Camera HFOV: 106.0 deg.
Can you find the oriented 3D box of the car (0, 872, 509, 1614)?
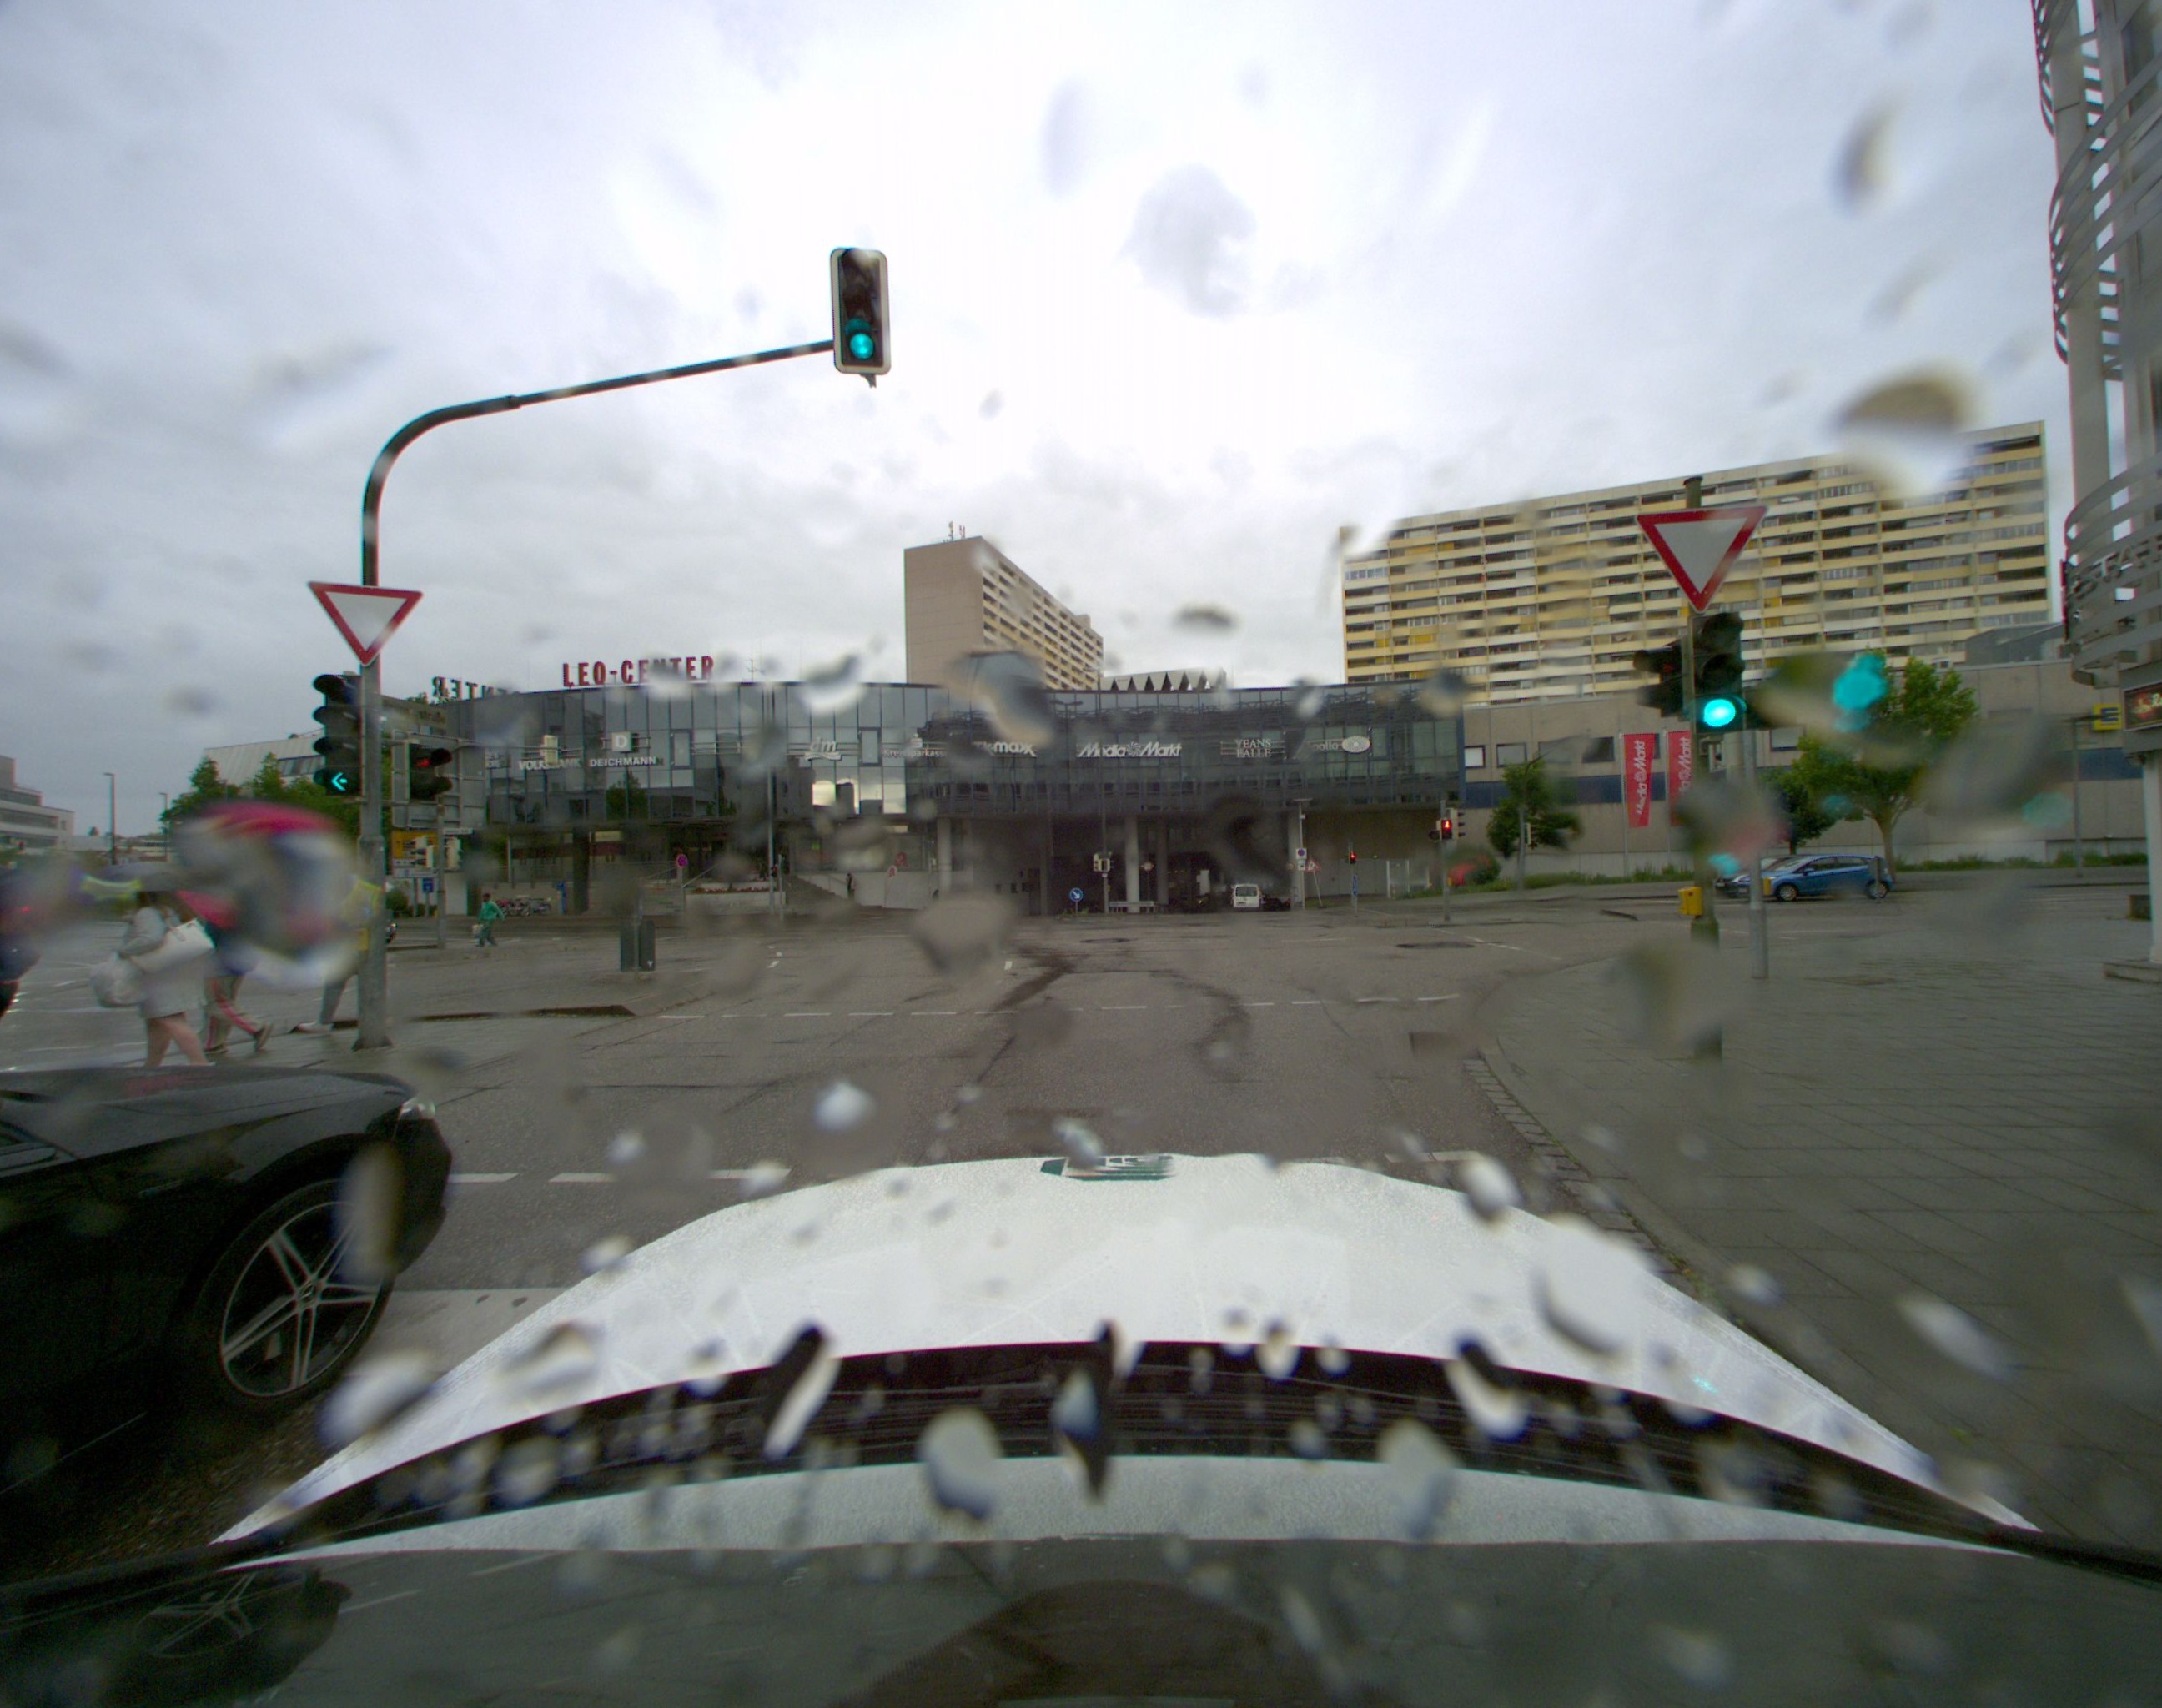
[{"bbox_3d":[-3.029,0.807,1.060,1.657,1.481,4.093,0,0,0],"label":"car"}]

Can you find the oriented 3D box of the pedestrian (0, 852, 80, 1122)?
[{"bbox_3d":[-7.430,0.878,5.392,0.826,1.736,0.960,-4,-2,42],"label":"pedestrian"}]

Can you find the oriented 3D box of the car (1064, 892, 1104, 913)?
[{"bbox_3d":[0.300,3.729,62.173,1.877,1.470,4.044,-2,-6,18],"label":"car"}]

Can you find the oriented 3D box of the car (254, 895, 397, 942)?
[{"bbox_3d":[-25.817,2.197,27.850,3.949,1.441,1.754,-2,-1,15],"label":"car"}]

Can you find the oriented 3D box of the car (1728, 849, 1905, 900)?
[{"bbox_3d":[23.343,0.667,25.979,3.819,1.397,1.684,-3,-2,10],"label":"car"}]

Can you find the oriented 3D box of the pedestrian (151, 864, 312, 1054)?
[{"bbox_3d":[-8.029,0.956,7.729,0.668,1.685,0.808,-2,-2,6],"label":"pedestrian"}]

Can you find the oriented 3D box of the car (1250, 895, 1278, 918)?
[{"bbox_3d":[13.547,3.856,60.249,1.620,1.612,4.280,-3,-4,17],"label":"car"}]

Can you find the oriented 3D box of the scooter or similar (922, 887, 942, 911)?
[{"bbox_3d":[-8.767,2.636,47.955,1.168,1.373,0.487,0,-2,-14],"label":"scooter or similar"}]

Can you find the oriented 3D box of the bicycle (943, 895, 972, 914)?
[{"bbox_3d":[-7.303,2.994,48.256,1.591,1.018,0.448,6,-4,-29],"label":"bicycle"}]

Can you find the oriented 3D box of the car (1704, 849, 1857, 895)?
[{"bbox_3d":[24.676,0.639,28.855,3.661,1.395,1.749,-3,-2,11],"label":"car"}]

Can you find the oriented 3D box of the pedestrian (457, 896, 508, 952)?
[{"bbox_3d":[-17.950,2.088,24.441,0.941,1.623,0.813,-2,-1,19],"label":"pedestrian"}]

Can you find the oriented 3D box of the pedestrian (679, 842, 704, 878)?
[{"bbox_3d":[-22.211,0.339,46.474,0.823,2.014,0.957,-1,-2,19],"label":"pedestrian"}]

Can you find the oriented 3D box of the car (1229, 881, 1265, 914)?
[{"bbox_3d":[9.817,2.559,48.032,1.913,1.798,4.310,-2,-3,12],"label":"car"}]

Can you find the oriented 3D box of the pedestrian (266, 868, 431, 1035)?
[{"bbox_3d":[-7.880,1.006,8.813,0.932,1.677,0.916,-2,-2,1],"label":"pedestrian"}]

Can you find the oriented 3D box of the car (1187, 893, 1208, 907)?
[{"bbox_3d":[14.461,5.662,100.929,1.978,1.664,4.017,0,-1,17],"label":"car"}]

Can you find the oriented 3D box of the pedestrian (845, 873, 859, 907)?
[{"bbox_3d":[-13.181,2.065,46.928,0.655,1.908,0.593,0,-2,-7],"label":"pedestrian"}]

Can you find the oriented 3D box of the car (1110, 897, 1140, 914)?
[{"bbox_3d":[3.987,4.662,73.900,1.756,1.464,3.892,-3,-4,17],"label":"car"}]

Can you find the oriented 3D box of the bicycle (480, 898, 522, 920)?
[{"bbox_3d":[-32.677,3.080,45.907,0.621,1.033,1.864,-3,1,20],"label":"bicycle"}]

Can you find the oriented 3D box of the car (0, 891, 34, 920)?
[{"bbox_3d":[-75.689,3.634,57.510,4.085,1.896,2.062,-1,-1,37],"label":"car"}]

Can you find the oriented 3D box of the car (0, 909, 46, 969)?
[{"bbox_3d":[-28.222,2.147,20.414,5.079,1.414,2.136,-3,-3,31],"label":"car"}]

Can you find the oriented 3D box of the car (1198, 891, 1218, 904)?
[{"bbox_3d":[16.973,5.805,108.735,1.978,1.464,4.017,-3,-2,17],"label":"car"}]

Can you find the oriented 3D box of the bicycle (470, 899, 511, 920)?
[{"bbox_3d":[-33.363,3.125,46.041,0.529,0.951,1.865,-1,2,23],"label":"bicycle"}]

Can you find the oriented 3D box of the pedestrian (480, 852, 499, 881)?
[{"bbox_3d":[-35.753,0.750,49.219,0.592,1.714,0.658,-1,-2,25],"label":"pedestrian"}]

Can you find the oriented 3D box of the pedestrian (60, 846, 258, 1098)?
[{"bbox_3d":[-7.151,0.838,6.323,1.123,1.744,0.865,-3,-2,34],"label":"pedestrian"}]

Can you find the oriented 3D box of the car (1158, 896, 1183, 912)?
[{"bbox_3d":[9.986,5.501,90.637,1.899,1.588,3.956,-3,-2,17],"label":"car"}]

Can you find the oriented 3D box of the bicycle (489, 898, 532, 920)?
[{"bbox_3d":[-31.965,3.068,45.666,0.640,1.042,1.864,-3,1,20],"label":"bicycle"}]

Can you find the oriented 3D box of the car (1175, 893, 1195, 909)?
[{"bbox_3d":[12.245,5.480,95.649,1.823,1.728,4.014,-2,-2,13],"label":"car"}]

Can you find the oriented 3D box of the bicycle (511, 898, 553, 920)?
[{"bbox_3d":[-30.444,3.053,45.158,0.625,1.023,1.864,-3,0,20],"label":"bicycle"}]

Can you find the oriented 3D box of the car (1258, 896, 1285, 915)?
[{"bbox_3d":[15.251,4.109,65.088,1.765,1.400,4.017,-3,-4,17],"label":"car"}]

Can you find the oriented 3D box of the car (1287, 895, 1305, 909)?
[{"bbox_3d":[23.749,5.292,89.997,1.874,1.491,3.856,-1,-2,15],"label":"car"}]
